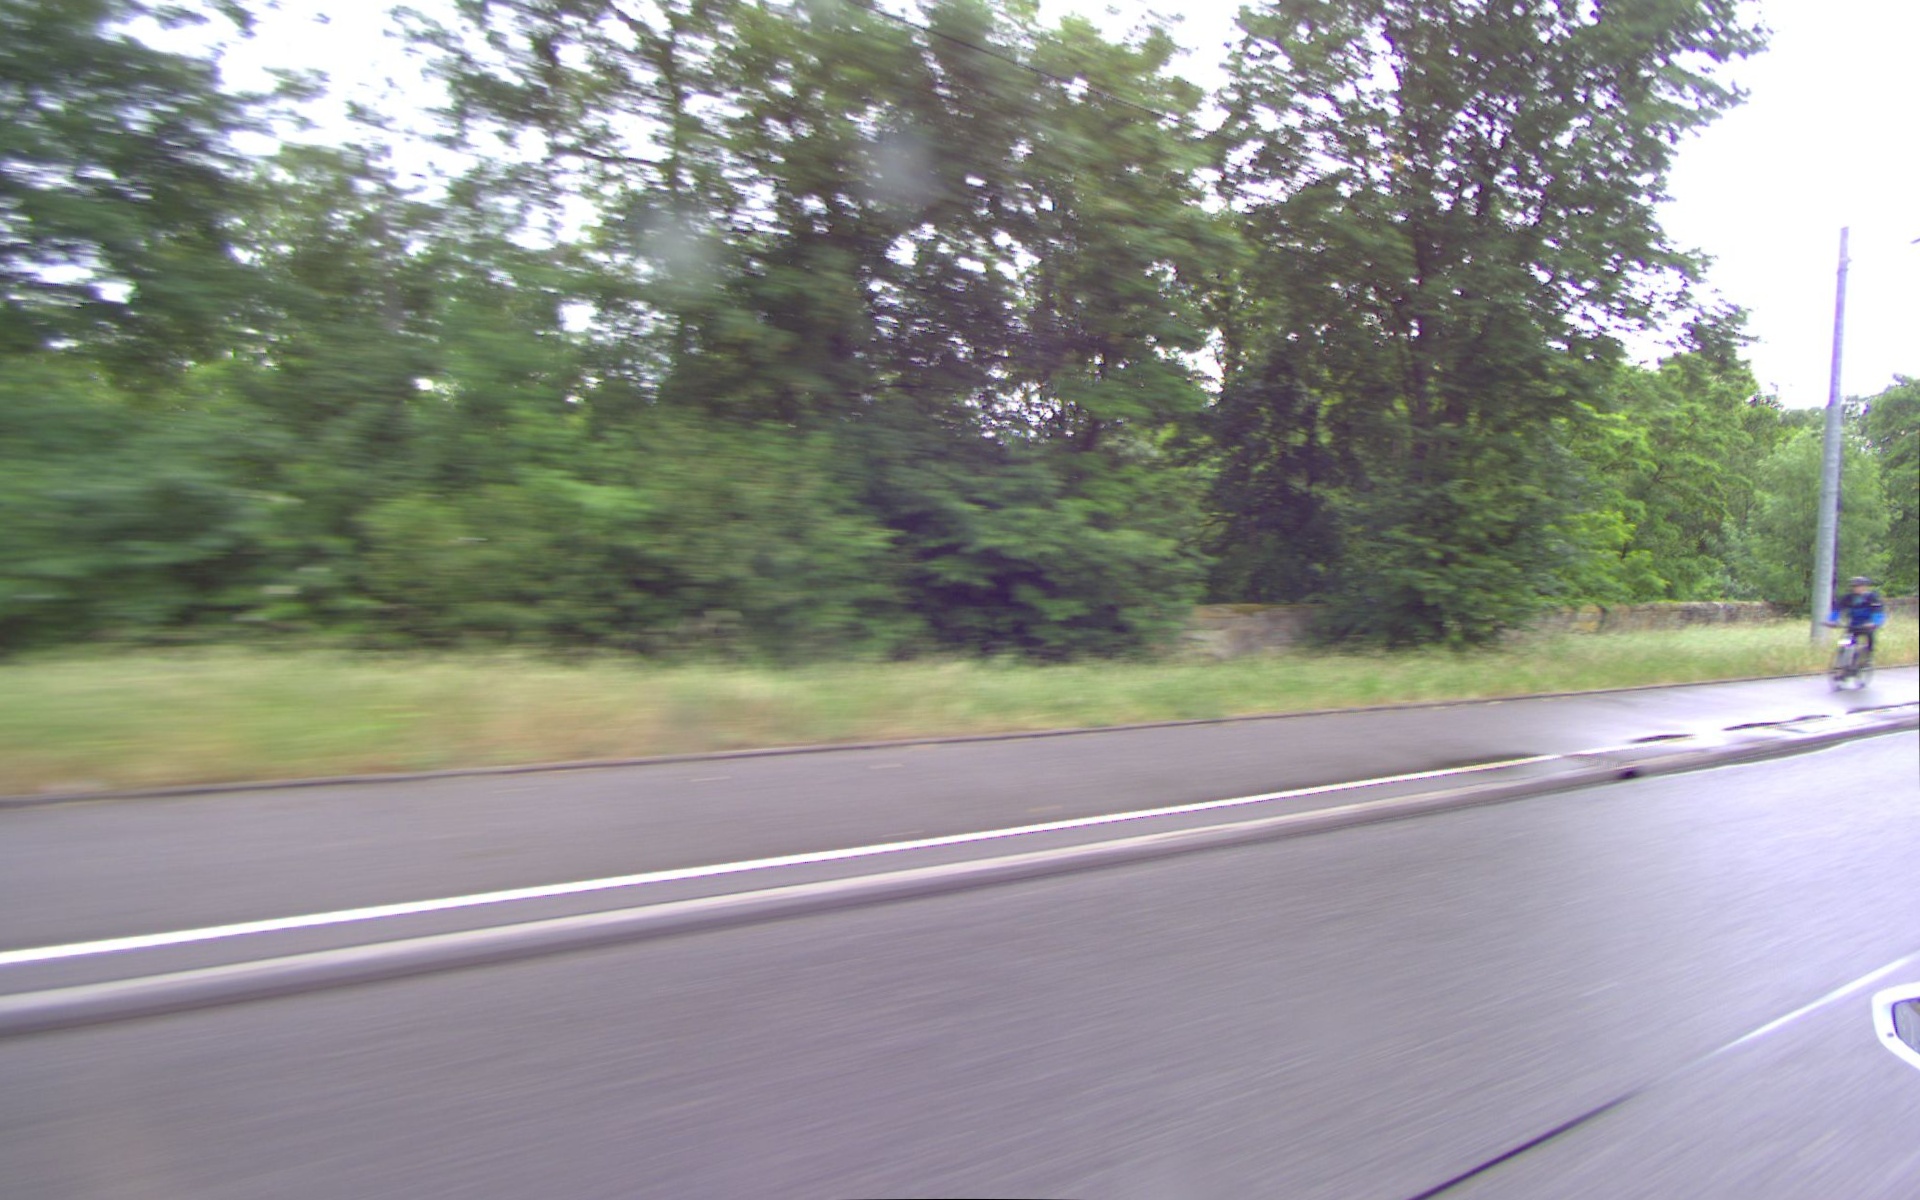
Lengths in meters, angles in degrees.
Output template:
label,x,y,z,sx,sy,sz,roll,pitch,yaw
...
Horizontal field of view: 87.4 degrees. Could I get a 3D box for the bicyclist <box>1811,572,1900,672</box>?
label,x,y,z,sx,sy,sz,roll,pitch,yaw
bicyclist,14.970,0.346,16.796,1.158,1.577,0.704,0,5,-33

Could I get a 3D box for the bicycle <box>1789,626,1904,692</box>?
label,x,y,z,sx,sy,sz,roll,pitch,yaw
bicycle,14.824,0.953,16.768,2.522,0.954,0.720,0,5,-33
